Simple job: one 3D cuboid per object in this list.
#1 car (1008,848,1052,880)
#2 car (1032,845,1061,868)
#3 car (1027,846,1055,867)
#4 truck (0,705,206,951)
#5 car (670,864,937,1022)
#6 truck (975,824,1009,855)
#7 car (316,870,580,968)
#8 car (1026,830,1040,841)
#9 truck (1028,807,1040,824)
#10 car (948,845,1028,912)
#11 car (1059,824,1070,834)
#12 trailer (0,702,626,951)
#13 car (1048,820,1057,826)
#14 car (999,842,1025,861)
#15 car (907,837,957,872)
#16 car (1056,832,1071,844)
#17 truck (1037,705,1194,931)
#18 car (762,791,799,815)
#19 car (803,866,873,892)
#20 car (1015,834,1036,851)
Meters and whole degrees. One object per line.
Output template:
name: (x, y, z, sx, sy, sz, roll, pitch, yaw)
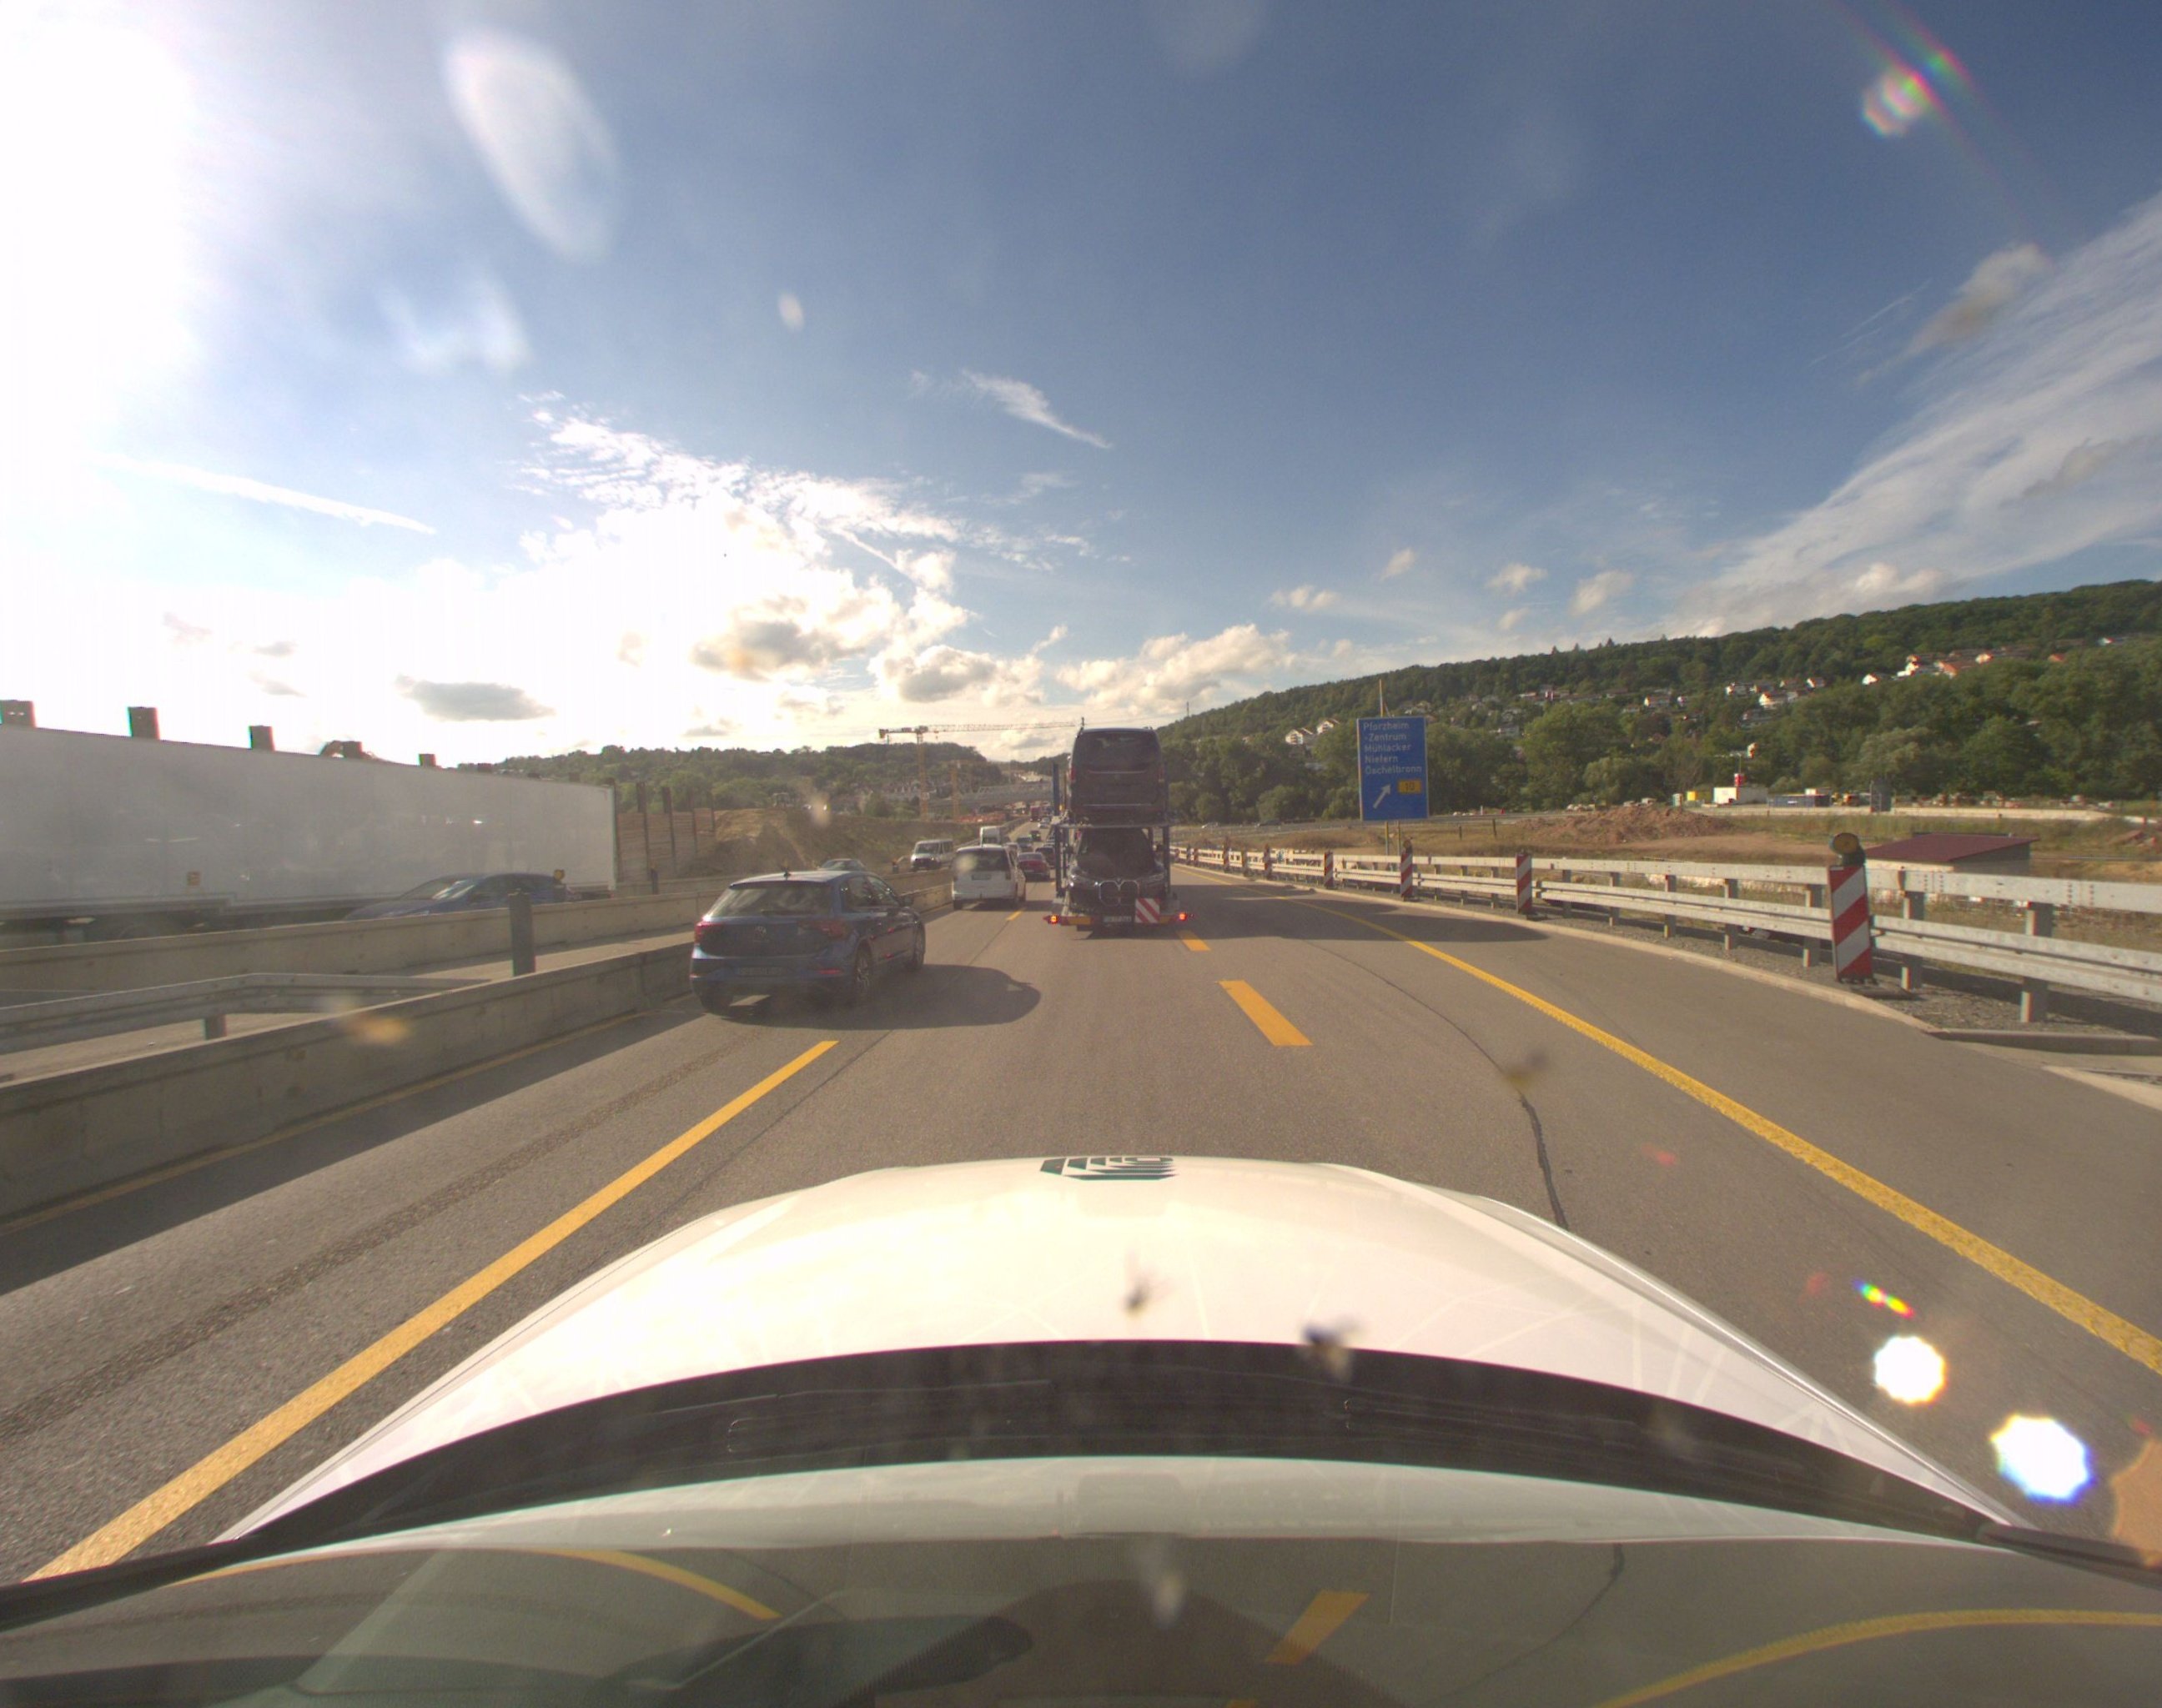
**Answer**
car: (-2.607, 0.517, 42.393, 1.987, 1.556, 4.400, -1, -1, 0)
car: (-2.511, 0.178, 58.788, 1.989, 1.552, 3.995, -1, -1, -3)
car: (-3.207, 0.197, 65.765, 1.986, 1.552, 4.001, -1, -1, 1)
truck: (-18.080, -0.373, 12.320, 2.760, 3.788, 6.033, -2, -1, 9)
car: (-3.044, 0.883, 9.885, 1.715, 1.422, 4.001, -2, 0, 2)
truck: (-10.095, -1.554, 93.042, 2.691, 3.311, 7.539, -1, -1, 1)
car: (-13.058, 1.255, 17.198, 1.982, 1.726, 4.132, -2, -1, 9)
car: (-7.611, -2.869, 128.847, 1.847, 1.635, 4.748, -2, 0, 0)
truck: (-12.288, -10.145, 213.913, 2.907, 4.386, 6.281, -1, 1, -3)
car: (-2.699, 0.694, 24.531, 1.816, 1.792, 4.000, -1, -1, 1)
car: (-2.976, -4.590, 147.843, 1.840, 1.648, 4.500, -2, 1, -3)
trailer: (-16.969, -0.354, 19.196, 2.804, 3.841, 13.839, -2, -1, 9)
car: (-7.004, -7.597, 199.658, 1.748, 1.439, 3.806, -2, 1, 1)
car: (-6.592, -0.262, 77.886, 2.120, 1.674, 4.269, -4, 0, -2)
car: (-10.892, 0.079, 59.855, 2.249, 2.402, 5.872, -1, -1, 3)
car: (-2.582, -2.373, 122.272, 1.986, 1.552, 4.001, -1, -1, 1)
truck: (0.787, -0.555, 23.778, 2.743, 3.955, 18.891, 0, -1, 1)
car: (-34.003, -5.699, 92.341, 1.988, 2.140, 5.319, -7, -1, -1)
car: (-12.853, 1.297, 43.315, 1.908, 1.273, 4.011, -2, -1, 10)
car: (-6.323, -1.261, 93.944, 2.120, 1.765, 5.027, -4, 0, -2)
